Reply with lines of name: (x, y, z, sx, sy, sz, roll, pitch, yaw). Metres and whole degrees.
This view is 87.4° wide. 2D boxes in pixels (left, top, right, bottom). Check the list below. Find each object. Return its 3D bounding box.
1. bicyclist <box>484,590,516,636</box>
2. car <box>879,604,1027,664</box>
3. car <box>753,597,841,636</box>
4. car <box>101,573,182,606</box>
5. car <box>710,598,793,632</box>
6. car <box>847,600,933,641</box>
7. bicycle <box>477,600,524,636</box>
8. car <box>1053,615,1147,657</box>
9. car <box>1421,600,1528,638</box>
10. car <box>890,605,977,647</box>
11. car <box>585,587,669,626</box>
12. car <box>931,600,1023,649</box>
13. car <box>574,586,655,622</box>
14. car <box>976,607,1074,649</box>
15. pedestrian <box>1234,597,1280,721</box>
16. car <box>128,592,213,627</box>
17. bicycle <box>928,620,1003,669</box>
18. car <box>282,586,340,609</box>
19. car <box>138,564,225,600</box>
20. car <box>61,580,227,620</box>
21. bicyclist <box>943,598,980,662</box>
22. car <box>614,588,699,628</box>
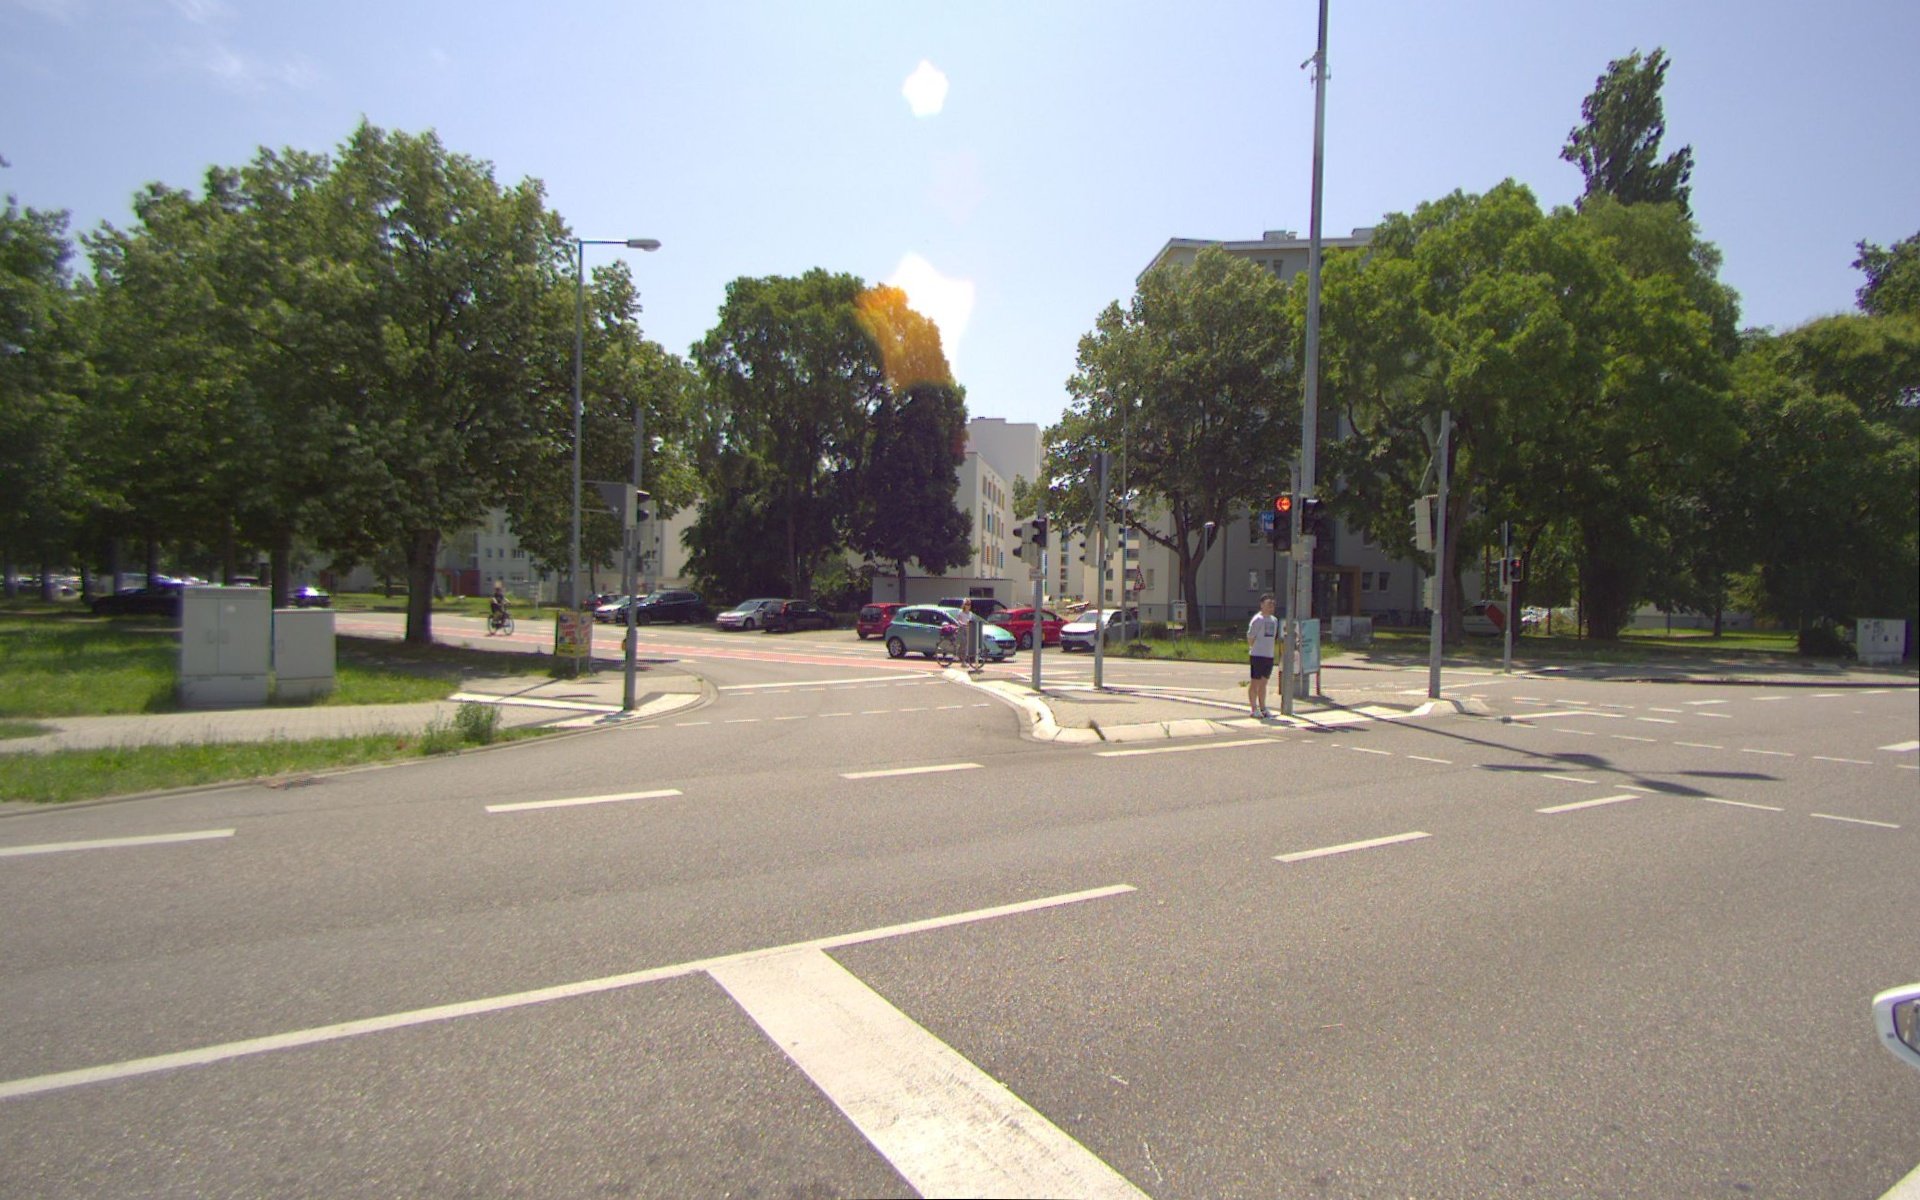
bicyclist: (-17.672, 0.493, 38.617, 0.883, 1.715, 0.771, 1, 0, 37)
car: (-0.237, 0.907, 28.090, 3.834, 1.488, 1.769, 1, 0, 36)
car: (-7.709, 0.760, 47.893, 1.823, 1.734, 3.985, 1, 0, 37)
car: (-56.335, -0.704, 69.169, 1.969, 2.041, 3.982, 6, 3, 39)
car: (-10.122, 0.713, 48.929, 1.667, 1.583, 3.823, 1, 0, 37)
car: (-3.011, 0.883, 44.010, 1.819, 1.690, 3.993, 1, 0, 29)
bicycle: (-17.646, 0.695, 38.581, 2.028, 1.317, 0.770, 1, 0, 38)
car: (5.221, 1.287, 37.109, 1.604, 1.399, 3.983, 3, 1, 38)
car: (25.989, 0.936, 50.902, 4.456, 1.791, 1.793, 1, 0, 10)
car: (-1.054, 1.037, 42.213, 1.680, 1.613, 3.989, 3, 1, 33)
car: (-18.181, 0.356, 54.956, 1.822, 1.974, 3.984, 3, 1, 37)
car: (0.753, 0.947, 40.739, 1.682, 1.825, 3.984, 3, 1, 37)
car: (-19.699, 0.223, 57.385, 1.822, 1.974, 3.984, 3, 1, 37)
car: (2.550, 1.049, 38.706, 1.600, 1.483, 3.976, 3, 1, 43)
pedestrian: (4.193, 0.817, 14.178, 0.481, 1.710, 0.380, 1, 1, -34)
car: (-50.773, 0.574, 64.629, 1.969, 2.041, 3.982, 6, 3, 39)
bicycle: (0.126, 1.087, 24.737, 1.840, 1.108, 0.644, 1, 0, 38)
car: (-44.960, -0.164, 69.539, 4.555, 1.519, 1.906, 1, 0, 37)
car: (-48.618, -1.124, 62.781, 1.969, 2.041, 3.982, 6, 3, 39)
car: (-31.398, 0.006, 38.800, 4.505, 1.487, 1.995, 0, 0, -13)
bicyclist: (0.033, 0.728, 24.805, 0.655, 1.557, 0.629, 1, 1, 38)
car: (-15.936, 0.421, 52.918, 1.822, 1.974, 3.984, 3, 1, 37)
